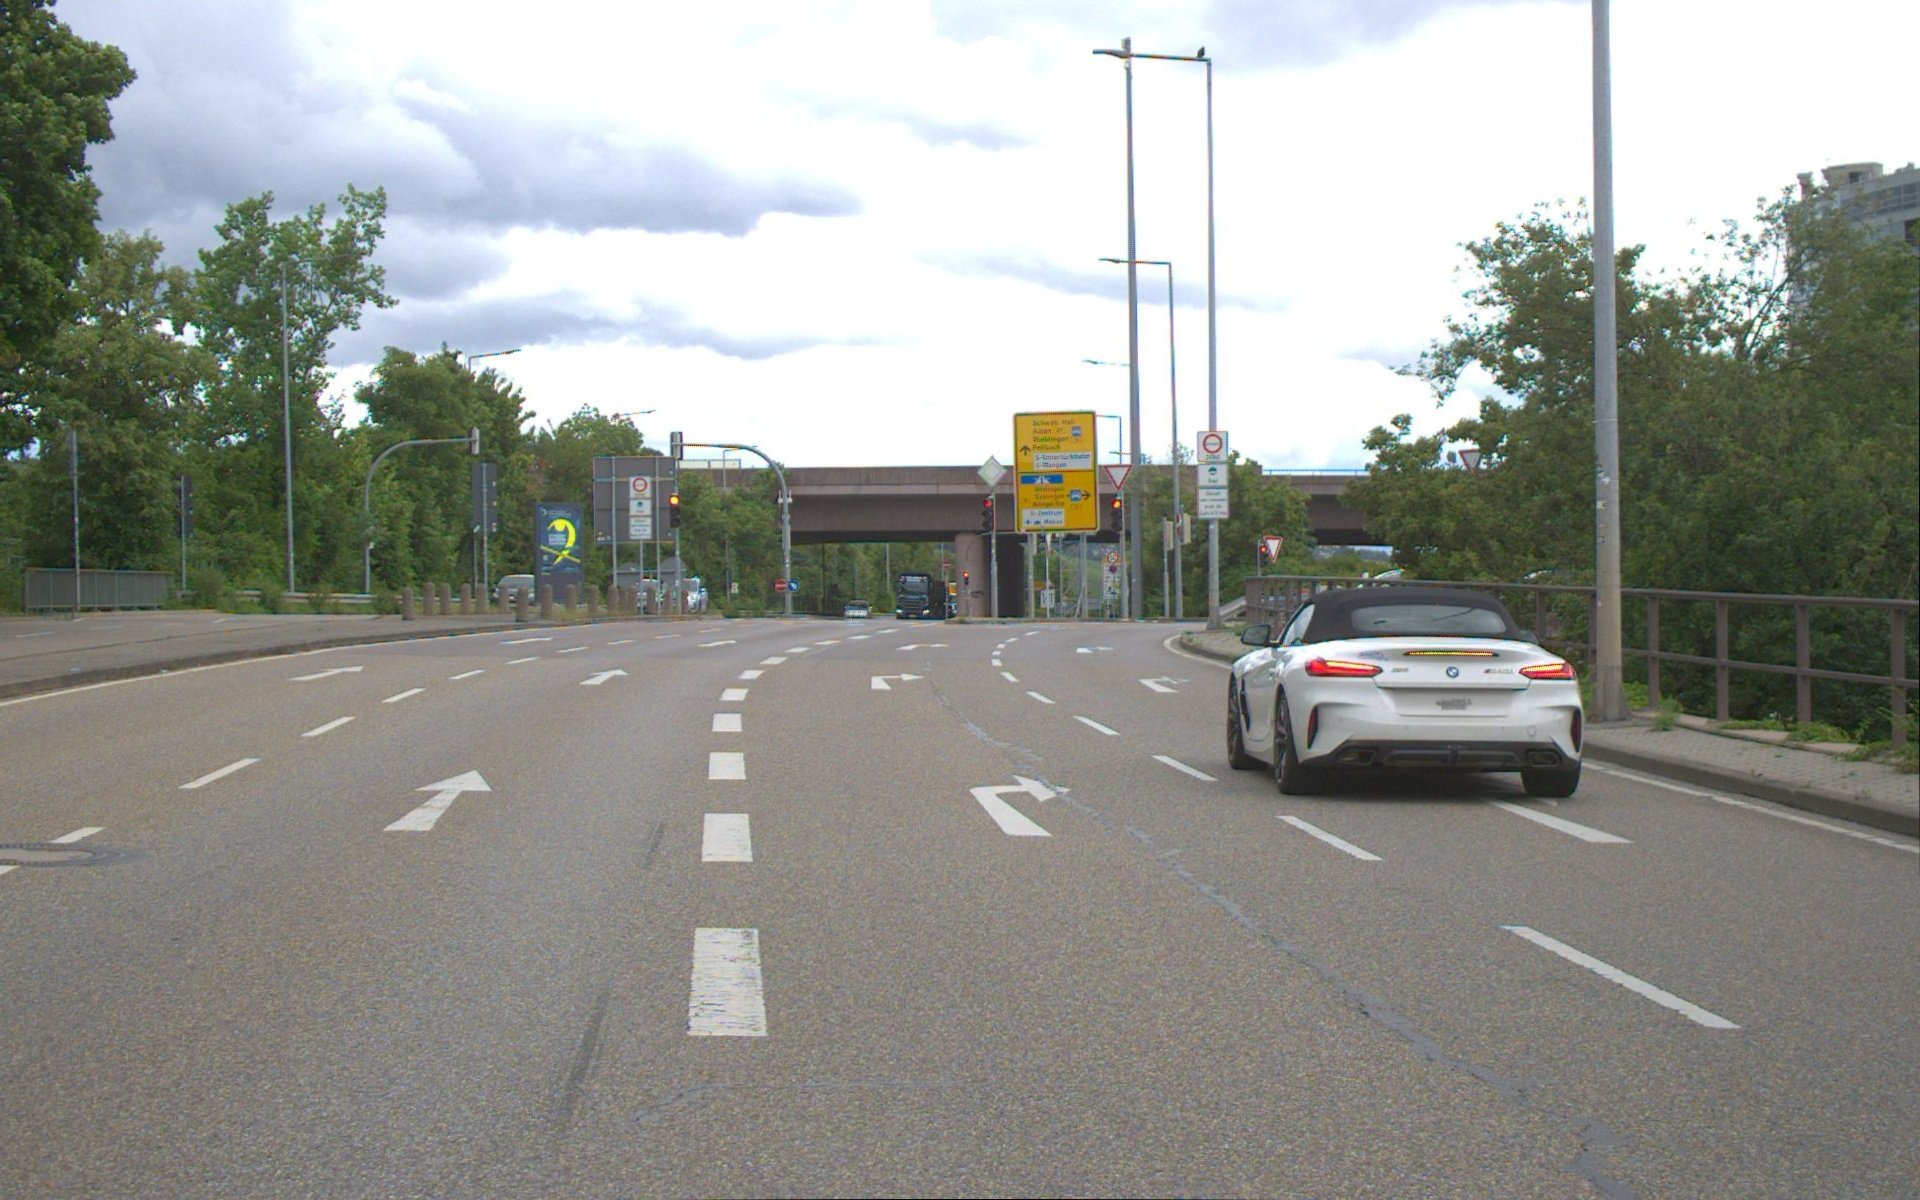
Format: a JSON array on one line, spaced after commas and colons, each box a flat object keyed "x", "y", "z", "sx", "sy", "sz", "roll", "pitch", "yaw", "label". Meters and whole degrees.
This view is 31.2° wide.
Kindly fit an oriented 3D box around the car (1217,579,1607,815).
[{"x": 2.859, "y": 0.571, "z": 22.570, "sx": 1.874, "sy": 1.305, "sz": 3.873, "roll": 1, "pitch": 1, "yaw": -2, "label": "car"}]

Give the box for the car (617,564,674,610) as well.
[{"x": -11.755, "y": -0.471, "z": 128.816, "sx": 1.771, "sy": 1.639, "sz": 3.825, "roll": 1, "pitch": 0, "yaw": 0, "label": "car"}]

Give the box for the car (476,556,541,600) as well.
[{"x": -15.785, "y": -0.772, "z": 120.363, "sx": 1.760, "sy": 1.479, "sz": 3.484, "roll": 2, "pitch": 0, "yaw": 0, "label": "car"}]

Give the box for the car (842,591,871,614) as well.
[{"x": -7.148, "y": 0.157, "z": 238.107, "sx": 1.741, "sy": 1.532, "sz": 3.671, "roll": 1, "pitch": 1, "yaw": 3, "label": "car"}]

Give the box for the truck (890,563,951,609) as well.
[{"x": -2.837, "y": -0.975, "z": 249.644, "sx": 2.924, "sy": 3.135, "sz": 10.108, "roll": 1, "pitch": 0, "yaw": 7, "label": "truck"}]

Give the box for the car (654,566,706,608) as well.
[{"x": -11.267, "y": -0.535, "z": 138.564, "sx": 1.771, "sy": 1.627, "sz": 3.825, "roll": 1, "pitch": 0, "yaw": 0, "label": "car"}]
